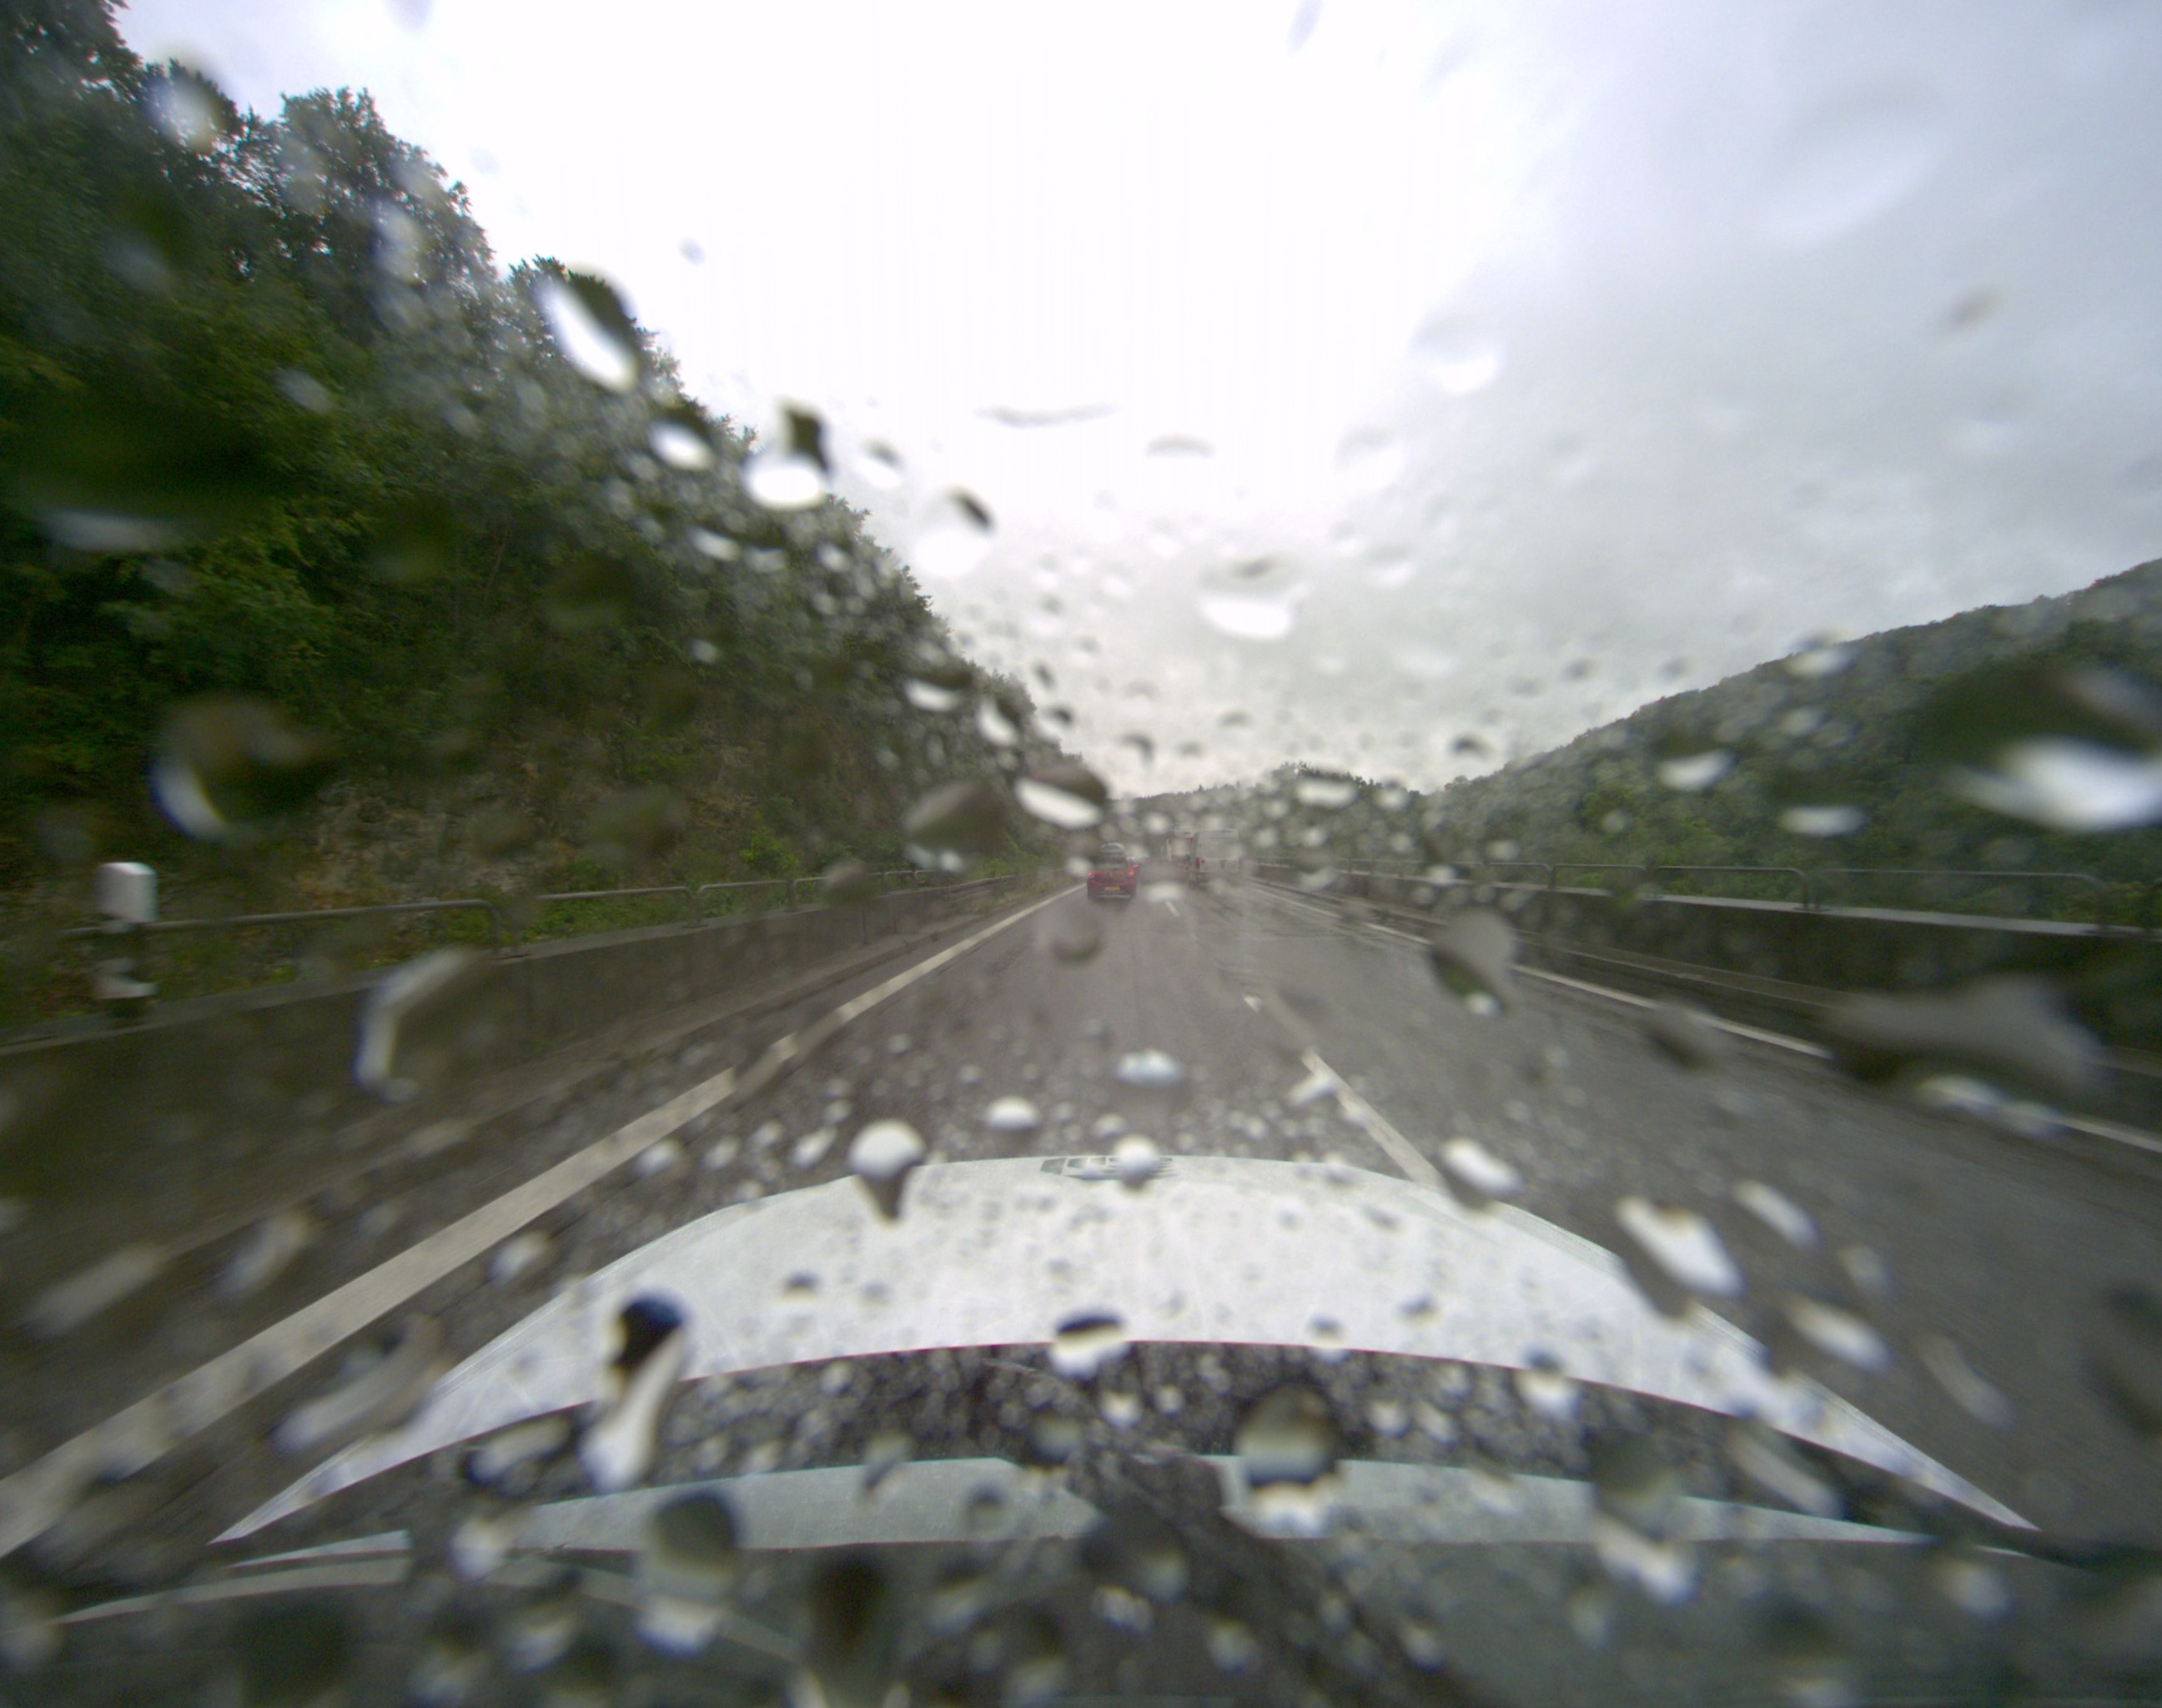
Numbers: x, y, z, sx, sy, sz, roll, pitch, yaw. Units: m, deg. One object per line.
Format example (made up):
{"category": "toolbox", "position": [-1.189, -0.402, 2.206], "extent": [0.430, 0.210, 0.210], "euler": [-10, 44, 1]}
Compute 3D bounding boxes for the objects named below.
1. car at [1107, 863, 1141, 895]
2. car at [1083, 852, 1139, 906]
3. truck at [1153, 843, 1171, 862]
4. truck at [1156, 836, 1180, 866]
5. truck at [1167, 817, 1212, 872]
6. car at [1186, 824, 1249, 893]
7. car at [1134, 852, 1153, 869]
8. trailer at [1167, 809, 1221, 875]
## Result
{"category": "car", "position": [2.591, 1.469, 48.891], "extent": [1.825, 1.715, 3.648], "euler": [-4, -1, 3]}
{"category": "car", "position": [1.129, 0.860, 29.575], "extent": [1.751, 1.684, 4.003], "euler": [-4, -1, 3]}
{"category": "truck", "position": [15.600, -0.307, 156.967], "extent": [3.048, 3.311, 8.081], "euler": [-2, 0, 5]}
{"category": "truck", "position": [12.776, -0.419, 120.108], "extent": [2.676, 4.094, 9.323], "euler": [-4, -1, 3]}
{"category": "truck", "position": [8.480, -0.696, 64.229], "extent": [3.203, 3.978, 5.448], "euler": [-2, -1, 6]}
{"category": "car", "position": [6.041, 0.193, 37.041], "extent": [2.196, 2.794, 7.392], "euler": [-1, 0, 5]}
{"category": "car", "position": [6.905, 0.742, 90.196], "extent": [1.866, 1.706, 3.893], "euler": [-4, -1, 4]}
{"category": "trailer", "position": [7.792, -0.728, 57.856], "extent": [3.202, 3.999, 13.546], "euler": [-2, 0, 6]}
